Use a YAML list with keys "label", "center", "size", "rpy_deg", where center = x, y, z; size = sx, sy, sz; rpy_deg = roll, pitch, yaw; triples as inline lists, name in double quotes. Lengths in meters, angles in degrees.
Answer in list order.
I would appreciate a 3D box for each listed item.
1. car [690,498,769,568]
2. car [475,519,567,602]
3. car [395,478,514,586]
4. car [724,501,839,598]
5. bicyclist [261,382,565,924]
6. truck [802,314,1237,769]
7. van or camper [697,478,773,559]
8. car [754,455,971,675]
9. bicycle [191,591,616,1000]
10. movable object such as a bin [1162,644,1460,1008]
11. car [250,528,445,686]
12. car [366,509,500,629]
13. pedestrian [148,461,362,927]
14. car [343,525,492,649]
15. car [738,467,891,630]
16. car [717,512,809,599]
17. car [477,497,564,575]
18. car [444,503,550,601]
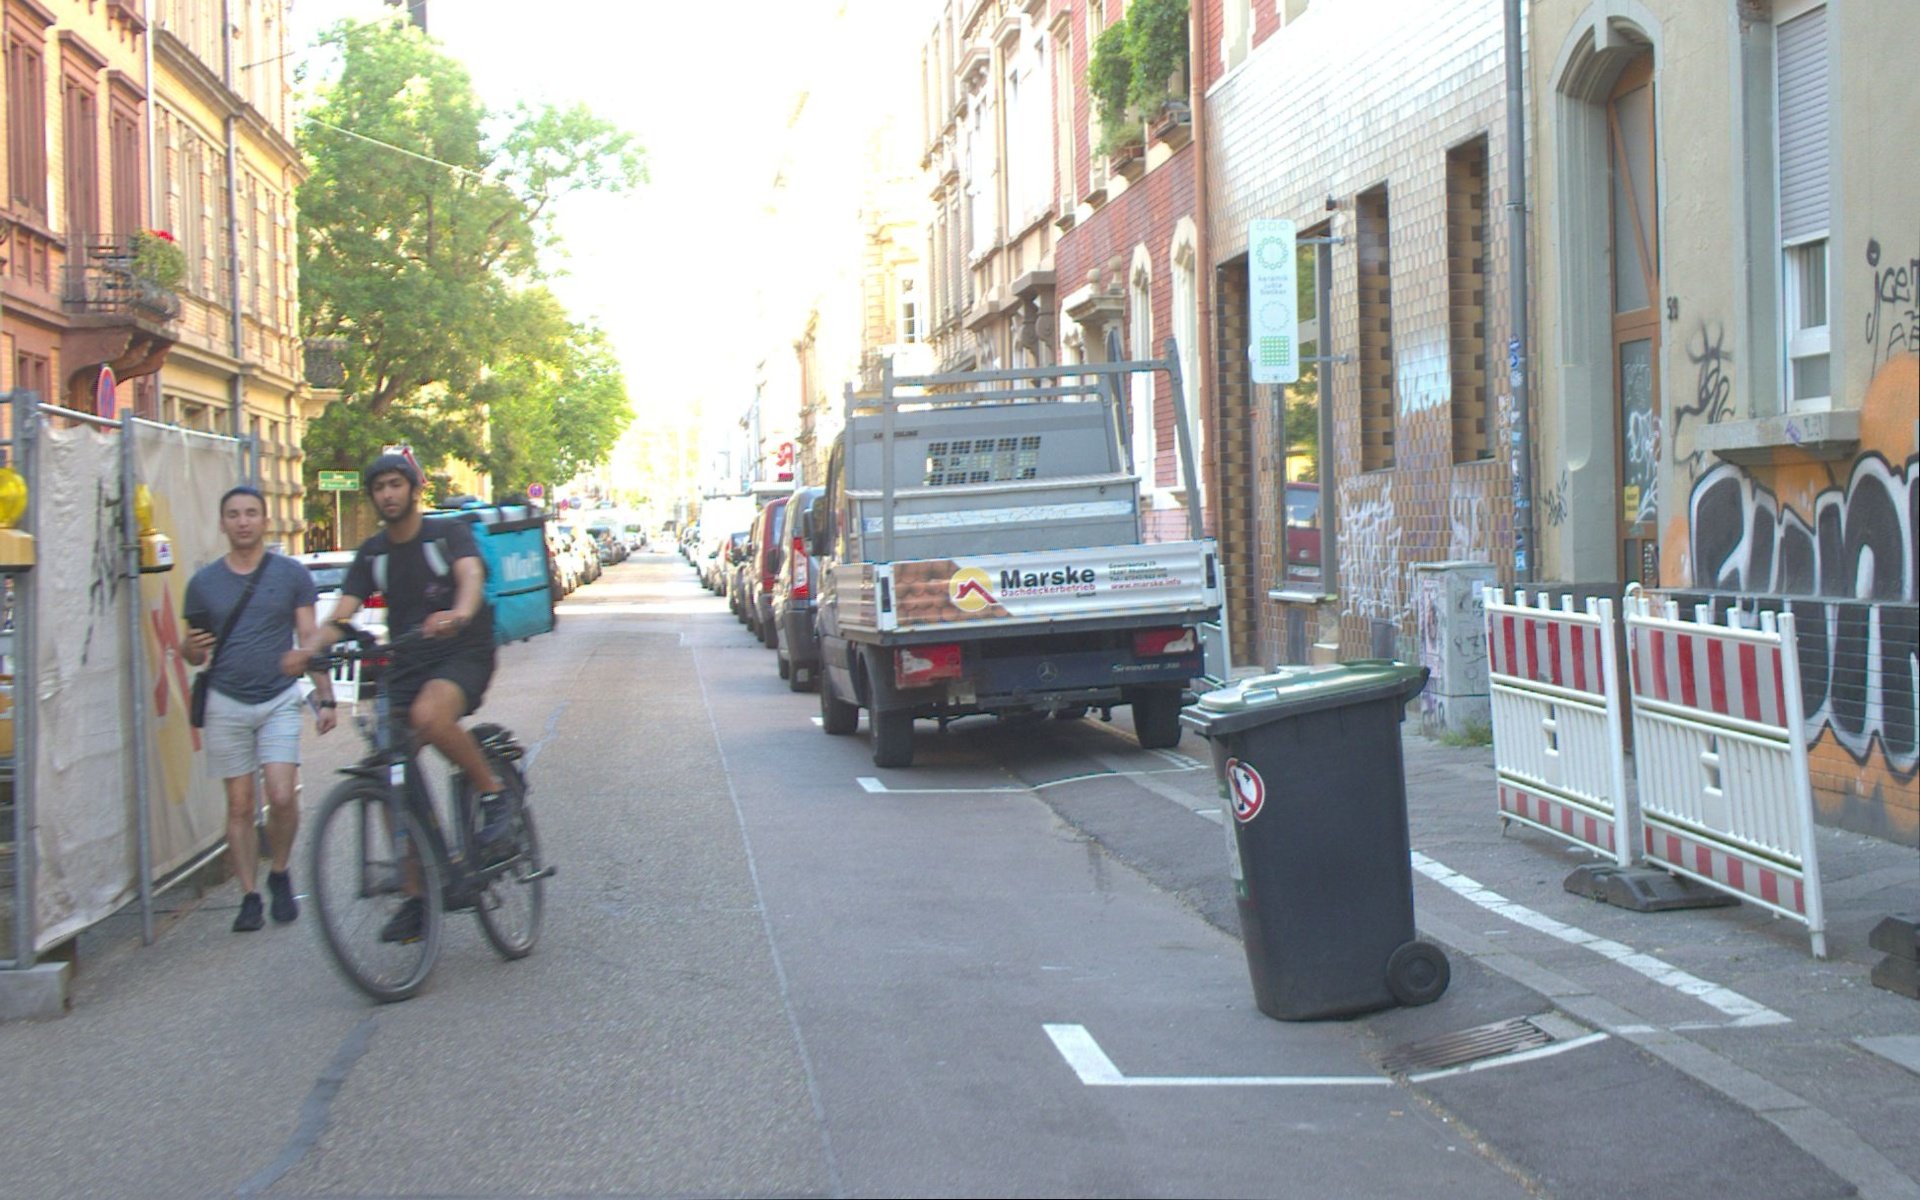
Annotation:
- label: "car"
  center: [-6.486, -1.889, 96.581]
  size: [1.993, 1.842, 4.001]
  rpy_deg: [-3, 2, -6]
- label: "car"
  center: [-10.382, -0.959, 81.488]
  size: [1.993, 1.842, 4.001]
  rpy_deg: [-2, 2, -6]
- label: "car"
  center: [-7.847, -1.052, 53.579]
  size: [1.674, 1.565, 3.870]
  rpy_deg: [-2, 1, -7]
- label: "car"
  center: [-3.112, -0.875, 59.290]
  size: [1.674, 1.565, 3.870]
  rpy_deg: [-2, 1, -7]
- label: "bicyclist"
  center: [-1.834, 0.159, 11.622]
  size: [0.730, 1.755, 0.835]
  rpy_deg: [0, 2, 12]
- label: "truck"
  center: [0.242, -0.413, 22.950]
  size: [2.189, 2.598, 5.235]
  rpy_deg: [-3, 2, -6]
- label: "van or camper"
  center: [-7.352, -2.667, 112.178]
  size: [1.993, 2.499, 4.203]
  rpy_deg: [-3, 2, -9]
- label: "car"
  center: [-1.006, -0.359, 33.392]
  size: [1.674, 1.956, 4.110]
  rpy_deg: [-2, 1, -7]
- label: "bicycle"
  center: [-1.826, 0.600, 11.643]
  size: [0.725, 1.182, 2.041]
  rpy_deg: [0, 2, 12]
- label: "movable object such as a bin"
  center: [1.083, 0.689, 10.737]
  size: [0.795, 1.052, 0.660]
  rpy_deg: [-2, 1, -4]
- label: "car"
  center: [-6.122, 0.028, 34.674]
  size: [1.674, 1.440, 3.870]
  rpy_deg: [-2, 1, -7]
- label: "car"
  center: [-7.368, -0.456, 48.322]
  size: [1.674, 1.565, 3.870]
  rpy_deg: [-2, 1, -7]
- label: "pedestrian"
  center: [-2.704, 0.344, 13.252]
  size: [0.657, 1.726, 0.720]
  rpy_deg: [-2, 1, -4]
- label: "car"
  center: [-6.817, -0.191, 43.462]
  size: [1.674, 1.440, 3.870]
  rpy_deg: [-2, 1, -7]
- label: "car"
  center: [-1.979, -0.699, 45.850]
  size: [1.674, 2.024, 3.870]
  rpy_deg: [-2, 1, -7]
- label: "car"
  center: [-4.816, -1.111, 83.674]
  size: [1.993, 2.006, 4.001]
  rpy_deg: [-2, 2, -6]
- label: "car"
  center: [-11.085, -1.629, 86.946]
  size: [1.993, 1.842, 4.001]
  rpy_deg: [-3, 2, -6]
- label: "car"
  center: [-7.887, -0.836, 58.785]
  size: [1.674, 1.565, 3.870]
  rpy_deg: [-2, 1, -7]
